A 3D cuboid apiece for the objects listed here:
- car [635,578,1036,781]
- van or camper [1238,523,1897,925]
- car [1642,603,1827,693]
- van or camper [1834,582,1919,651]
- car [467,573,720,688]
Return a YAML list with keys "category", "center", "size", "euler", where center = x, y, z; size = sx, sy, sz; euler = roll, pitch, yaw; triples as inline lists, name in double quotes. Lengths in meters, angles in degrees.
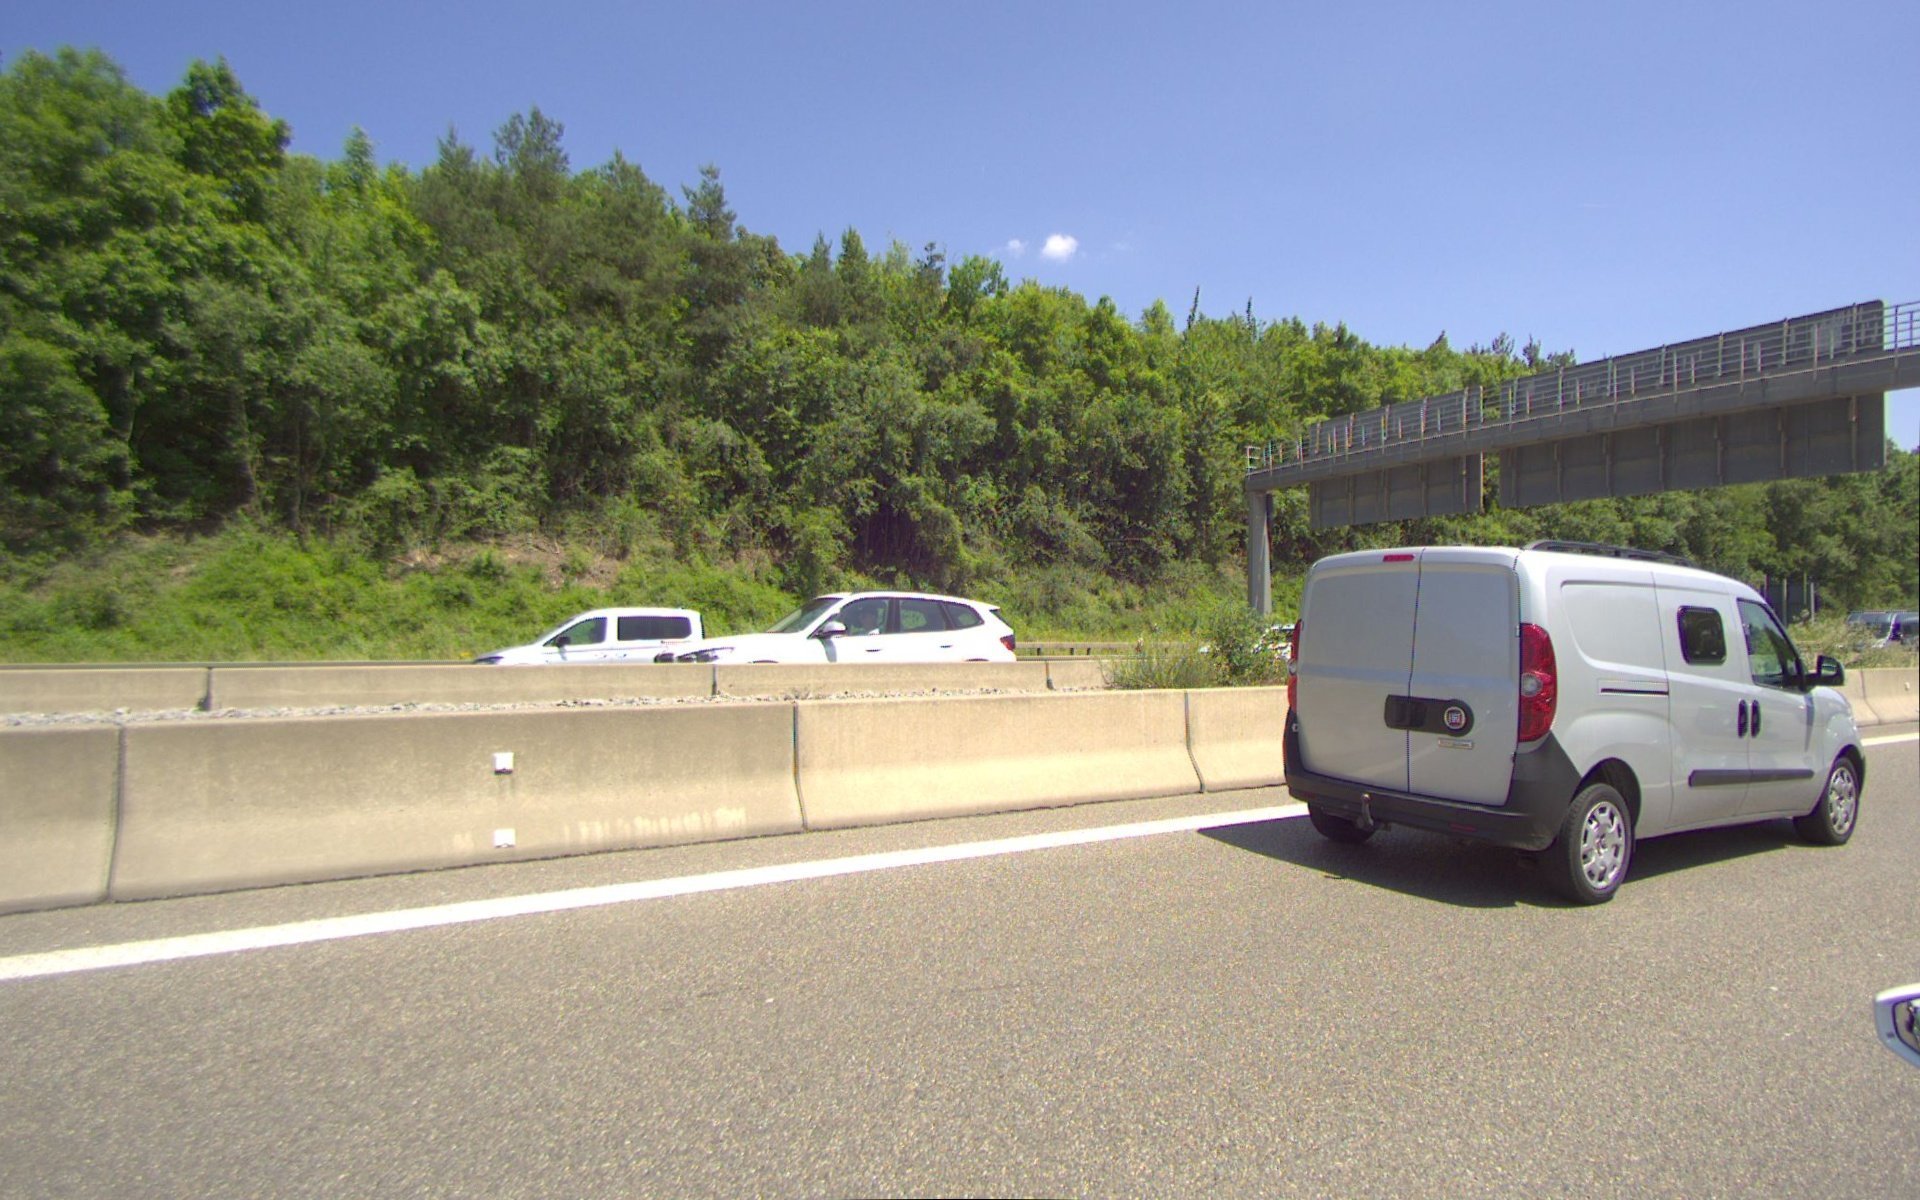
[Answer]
- category: "car"
  center: [-1.464, 0.887, 12.020]
  size: [4.293, 2.040, 1.986]
  euler: [3, -1, -28]
- category: "van or camper"
  center: [4.171, 0.625, 6.714]
  size: [4.508, 1.905, 1.844]
  euler: [1, 0, -30]
- category: "car"
  center: [19.465, 1.211, 25.188]
  size: [5.097, 2.040, 1.983]
  euler: [3, -1, -32]
- category: "van or camper"
  center: [42.346, 0.826, 45.558]
  size: [6.578, 2.896, 2.143]
  euler: [3, -1, -31]
- category: "car"
  center: [-7.208, 0.636, 19.805]
  size: [4.416, 2.040, 1.986]
  euler: [3, -1, -28]
